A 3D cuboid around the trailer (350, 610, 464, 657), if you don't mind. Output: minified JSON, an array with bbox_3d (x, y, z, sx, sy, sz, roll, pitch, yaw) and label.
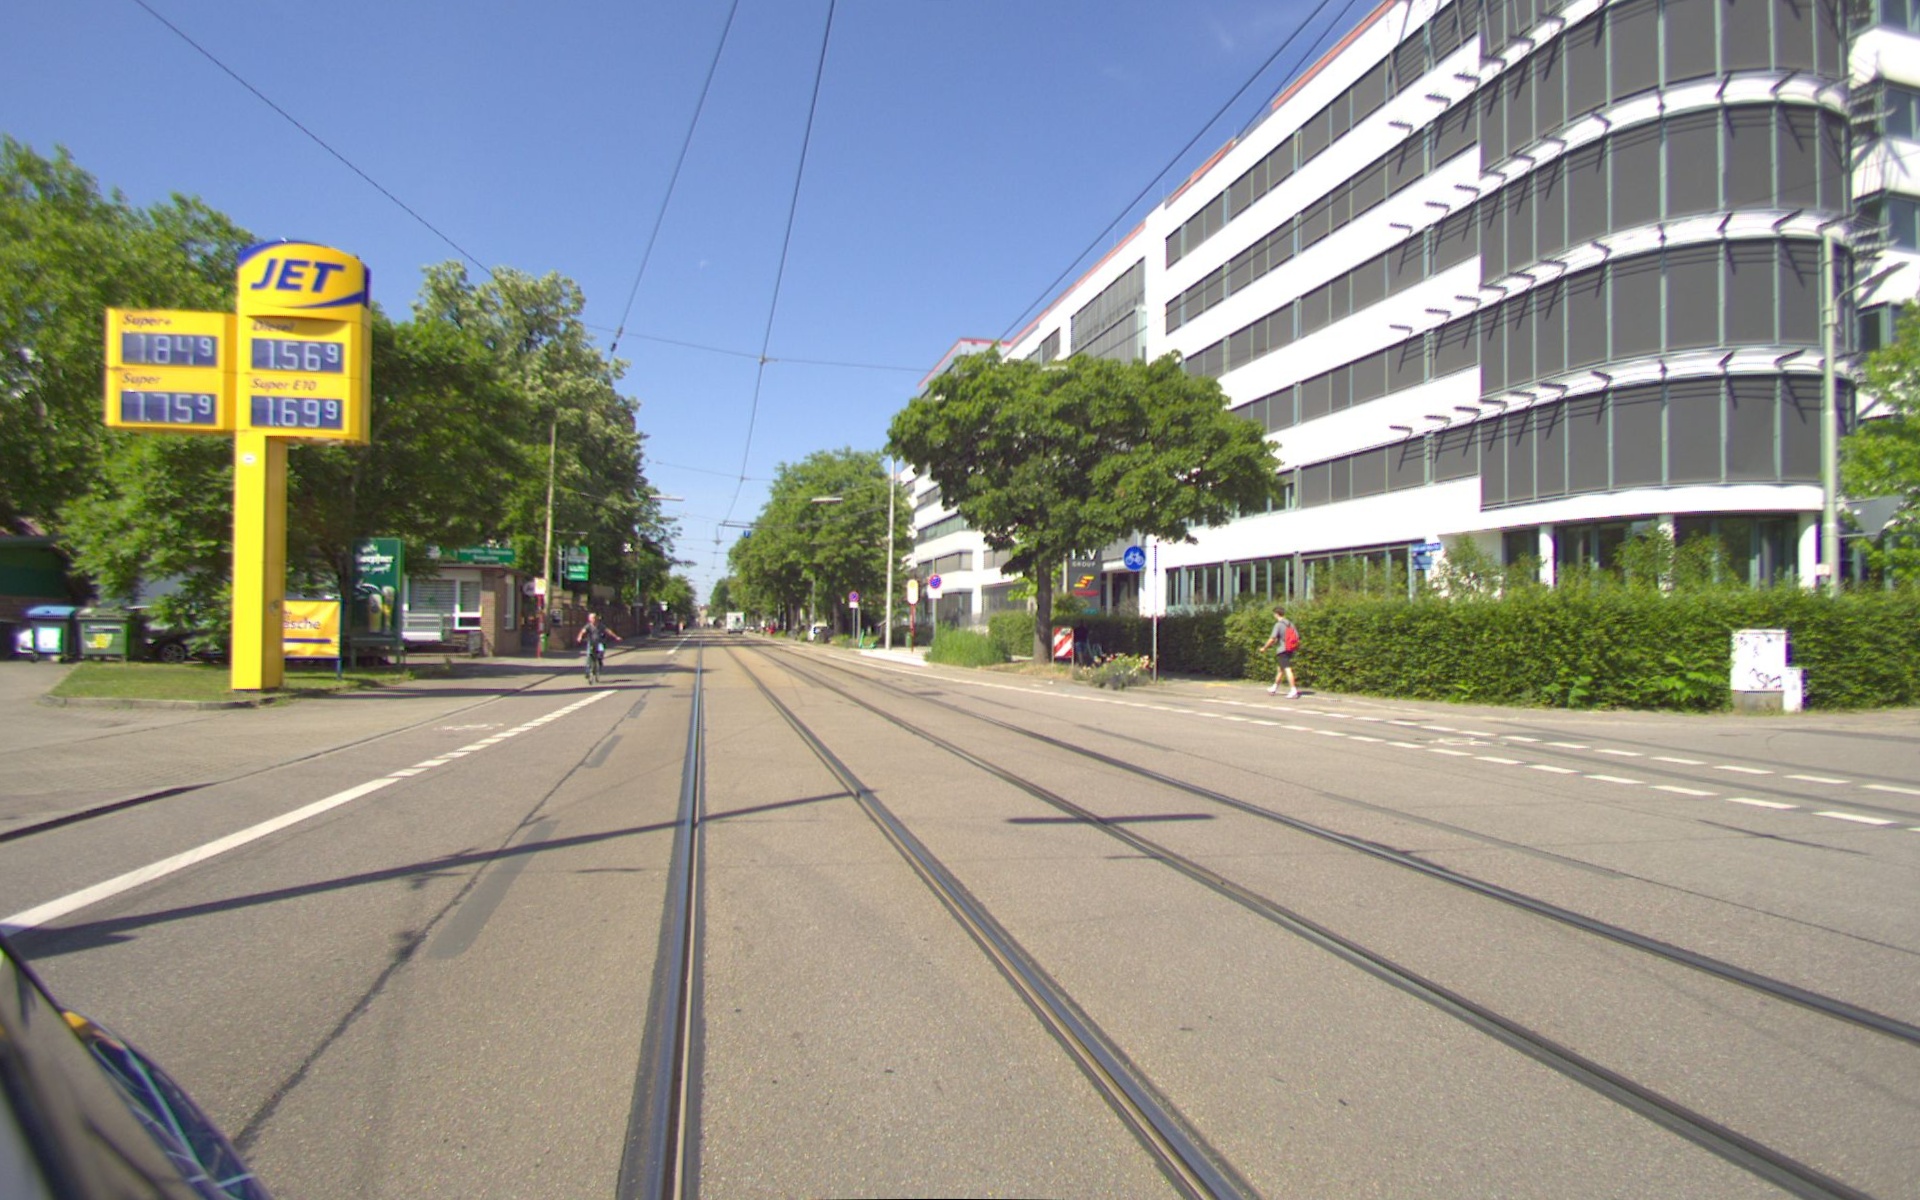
[{"bbox_3d":[-19.859,1.201,36.481,3.230,1.615,1.728,1,-2,-13],"label":"trailer"}]

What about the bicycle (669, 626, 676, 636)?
[{"bbox_3d":[-32.193,3.475,113.340,0.583,1.114,2.060,1,-2,-14],"label":"bicycle"}]

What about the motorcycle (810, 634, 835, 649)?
[{"bbox_3d":[-10.212,3.096,75.116,1.701,1.094,0.660,1,-2,-15],"label":"motorcycle"}]

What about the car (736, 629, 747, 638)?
[{"bbox_3d":[-35.253,5.435,163.252,1.607,1.483,4.124,1,-2,-14],"label":"car"}]

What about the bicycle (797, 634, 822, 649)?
[{"bbox_3d":[-11.539,3.183,77.686,1.823,1.140,0.682,1,-2,-15],"label":"bicycle"}]

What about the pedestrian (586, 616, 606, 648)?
[{"bbox_3d":[-21.585,1.897,60.010,0.963,1.830,1.188,1,-2,-14],"label":"pedestrian"}]

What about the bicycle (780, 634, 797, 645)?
[{"bbox_3d":[-17.564,4.042,103.493,1.701,1.094,0.480,1,-2,-15],"label":"bicycle"}]

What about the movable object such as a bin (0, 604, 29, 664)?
[{"bbox_3d":[-25.110,0.885,25.953,1.317,1.514,1.325,-1,-1,15],"label":"movable object such as a bin"}]

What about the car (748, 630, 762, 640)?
[{"bbox_3d":[-28.893,4.974,142.574,1.607,1.365,3.913,1,-2,-16],"label":"car"}]

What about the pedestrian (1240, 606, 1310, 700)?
[{"bbox_3d":[6.316,1.053,20.328,0.877,1.832,1.077,1,-2,-19],"label":"pedestrian"}]

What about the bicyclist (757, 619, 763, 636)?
[{"bbox_3d":[-22.925,3.128,115.826,0.627,1.885,1.027,1,-2,-15],"label":"bicyclist"}]

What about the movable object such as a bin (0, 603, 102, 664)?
[{"bbox_3d":[-23.212,0.851,25.834,1.403,1.514,1.379,0,-2,2],"label":"movable object such as a bin"}]

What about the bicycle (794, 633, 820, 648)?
[{"bbox_3d":[-11.922,3.152,78.961,1.878,1.178,0.821,1,-2,-15],"label":"bicycle"}]

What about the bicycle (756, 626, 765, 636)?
[{"bbox_3d":[-22.846,3.586,115.615,0.844,1.118,2.145,1,-2,-15],"label":"bicycle"}]

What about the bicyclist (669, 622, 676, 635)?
[{"bbox_3d":[-32.287,3.190,113.624,0.730,1.542,0.950,1,-2,-14],"label":"bicyclist"}]

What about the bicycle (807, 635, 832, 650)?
[{"bbox_3d":[-10.116,3.043,72.848,1.701,1.094,0.791,1,-2,-15],"label":"bicycle"}]

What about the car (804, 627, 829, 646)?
[{"bbox_3d":[-11.793,2.963,83.088,1.608,1.483,3.640,1,-2,-14],"label":"car"}]

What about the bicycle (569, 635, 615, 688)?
[{"bbox_3d":[-9.030,1.482,24.884,0.602,1.206,2.127,-2,-1,-8],"label":"bicycle"}]

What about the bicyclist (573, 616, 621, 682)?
[{"bbox_3d":[-8.921,1.195,24.888,0.892,1.608,0.966,0,-2,-6],"label":"bicyclist"}]

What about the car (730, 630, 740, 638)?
[{"bbox_3d":[-40.044,6.049,180.238,1.607,1.483,4.124,1,-2,-14],"label":"car"}]

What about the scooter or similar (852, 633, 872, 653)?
[{"bbox_3d":[-5.827,2.519,59.917,1.111,1.175,0.677,1,-2,-12],"label":"scooter or similar"}]

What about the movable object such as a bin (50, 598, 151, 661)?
[{"bbox_3d":[-21.479,0.739,25.341,1.399,1.514,1.382,1,-2,-11],"label":"movable object such as a bin"}]

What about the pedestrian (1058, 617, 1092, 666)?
[{"bbox_3d":[3.729,1.336,32.878,0.676,1.575,0.991,-1,-2,-19],"label":"pedestrian"}]

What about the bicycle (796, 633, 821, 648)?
[{"bbox_3d":[-11.717,3.153,78.344,1.847,1.150,0.688,1,-2,-15],"label":"bicycle"}]

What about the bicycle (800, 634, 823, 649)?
[{"bbox_3d":[-11.207,3.141,76.306,1.701,1.094,0.641,1,-2,-15],"label":"bicycle"}]

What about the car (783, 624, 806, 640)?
[{"bbox_3d":[-15.571,2.962,95.068,1.607,1.494,4.286,1,-2,-17],"label":"car"}]

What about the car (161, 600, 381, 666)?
[{"bbox_3d":[-18.954,0.916,28.093,2.012,1.653,4.613,0,-2,29],"label":"car"}]

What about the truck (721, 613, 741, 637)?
[{"bbox_3d":[-31.373,3.423,138.508,2.369,3.132,6.053,1,-2,-15],"label":"truck"}]

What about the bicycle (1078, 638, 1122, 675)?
[{"bbox_3d":[4.503,1.812,32.734,0.627,1.126,2.073,1,-2,-15],"label":"bicycle"}]

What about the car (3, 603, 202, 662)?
[{"bbox_3d":[-24.503,0.919,29.052,1.839,1.569,3.960,0,-2,29],"label":"car"}]

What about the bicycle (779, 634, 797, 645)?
[{"bbox_3d":[-17.485,4.019,102.936,1.701,1.094,0.616,1,-2,-15],"label":"bicycle"}]
